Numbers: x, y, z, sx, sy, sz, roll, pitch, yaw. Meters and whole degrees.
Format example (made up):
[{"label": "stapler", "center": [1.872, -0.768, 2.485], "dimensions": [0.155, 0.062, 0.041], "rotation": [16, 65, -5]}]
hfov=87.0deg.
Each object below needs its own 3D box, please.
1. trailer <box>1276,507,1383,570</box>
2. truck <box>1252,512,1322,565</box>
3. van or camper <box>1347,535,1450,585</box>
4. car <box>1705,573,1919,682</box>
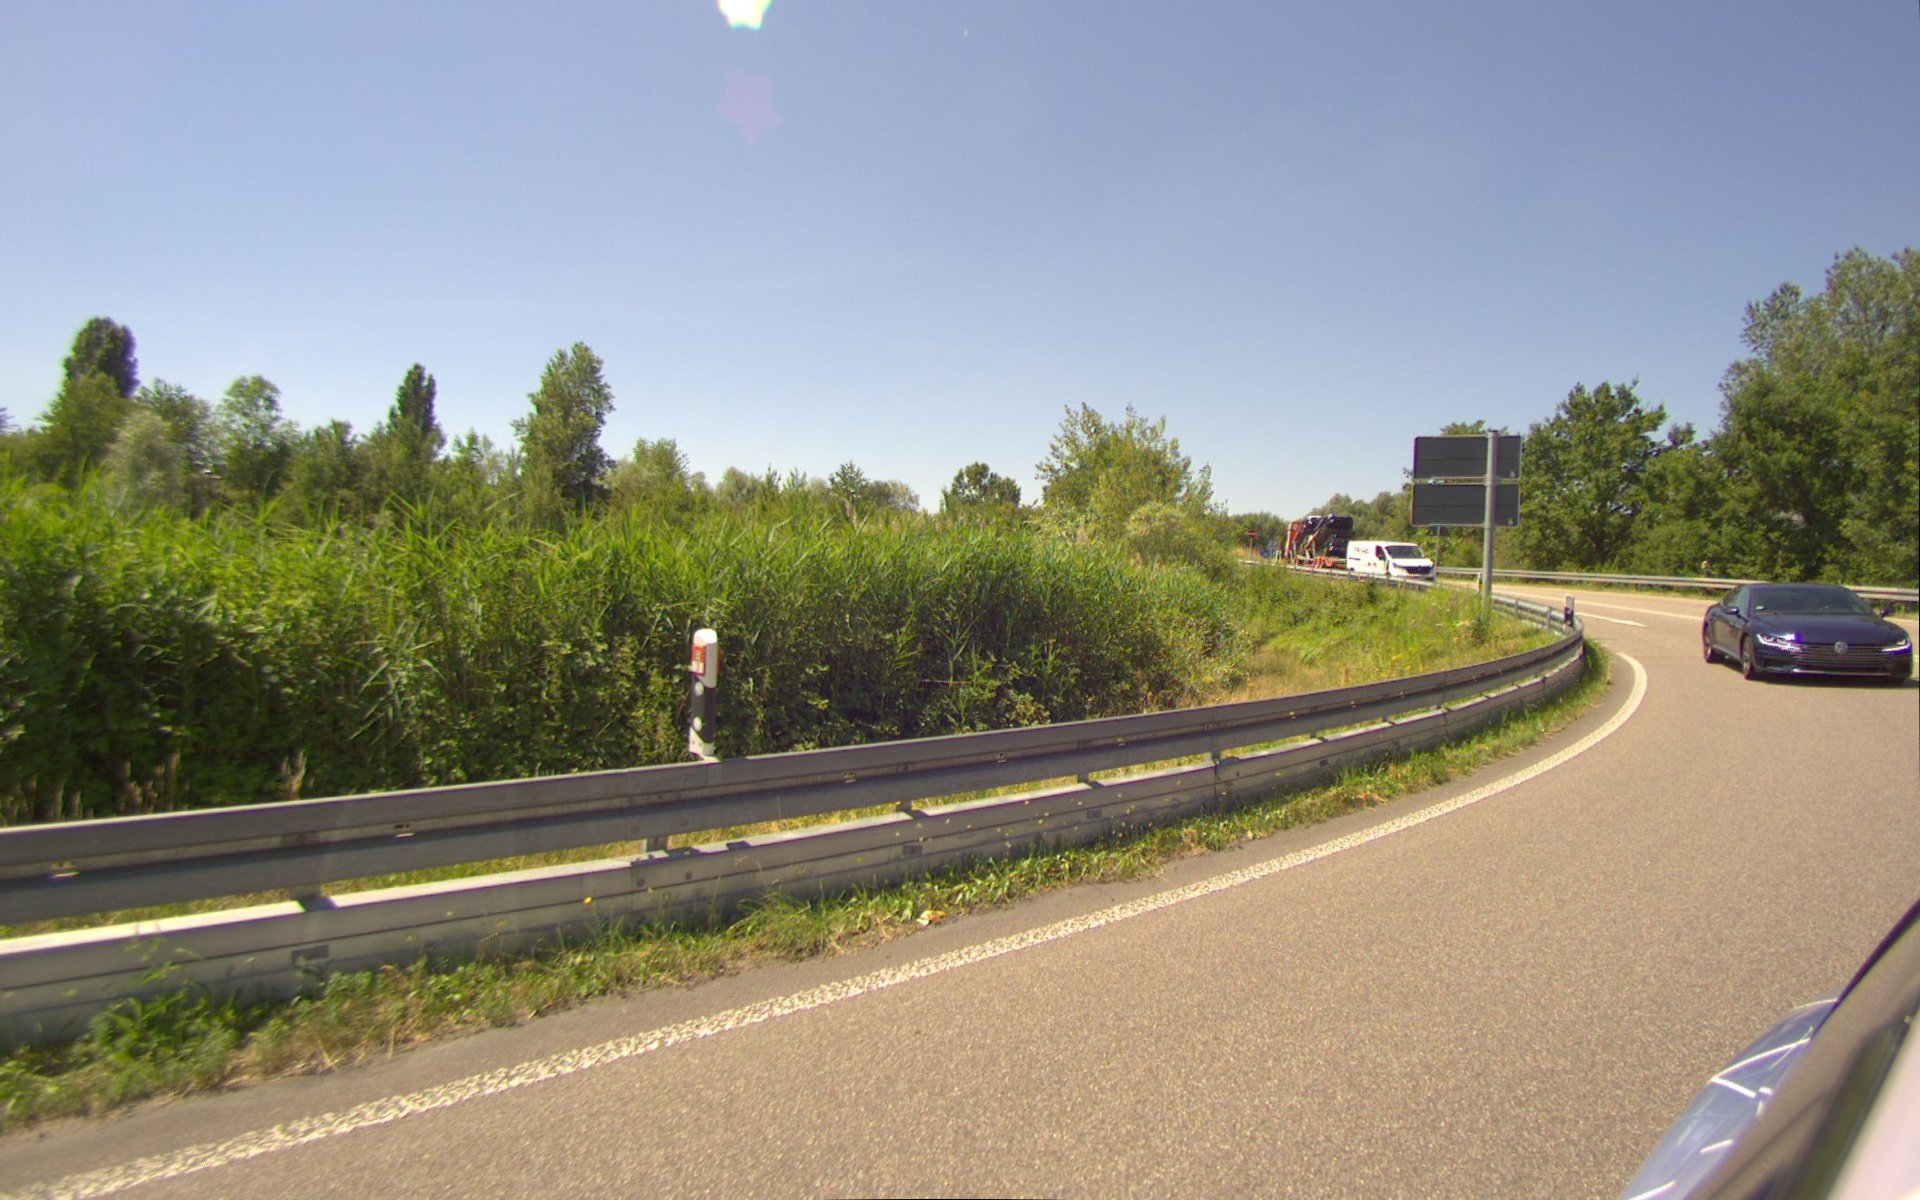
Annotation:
[{"label": "trailer", "center": [25.575, -4.356, 71.075], "dimensions": [2.750, 3.944, 13.990], "rotation": [0, 4, 2]}, {"label": "truck", "center": [25.809, -4.935, 80.451], "dimensions": [2.746, 3.944, 8.784], "rotation": [0, 4, 1]}, {"label": "van or camper", "center": [19.473, -1.855, 45.300], "dimensions": [1.970, 2.055, 5.455], "rotation": [-1, 3, -3]}, {"label": "car", "center": [13.257, 0.334, 15.882], "dimensions": [1.827, 1.448, 4.490], "rotation": [-1, 1, 28]}]
